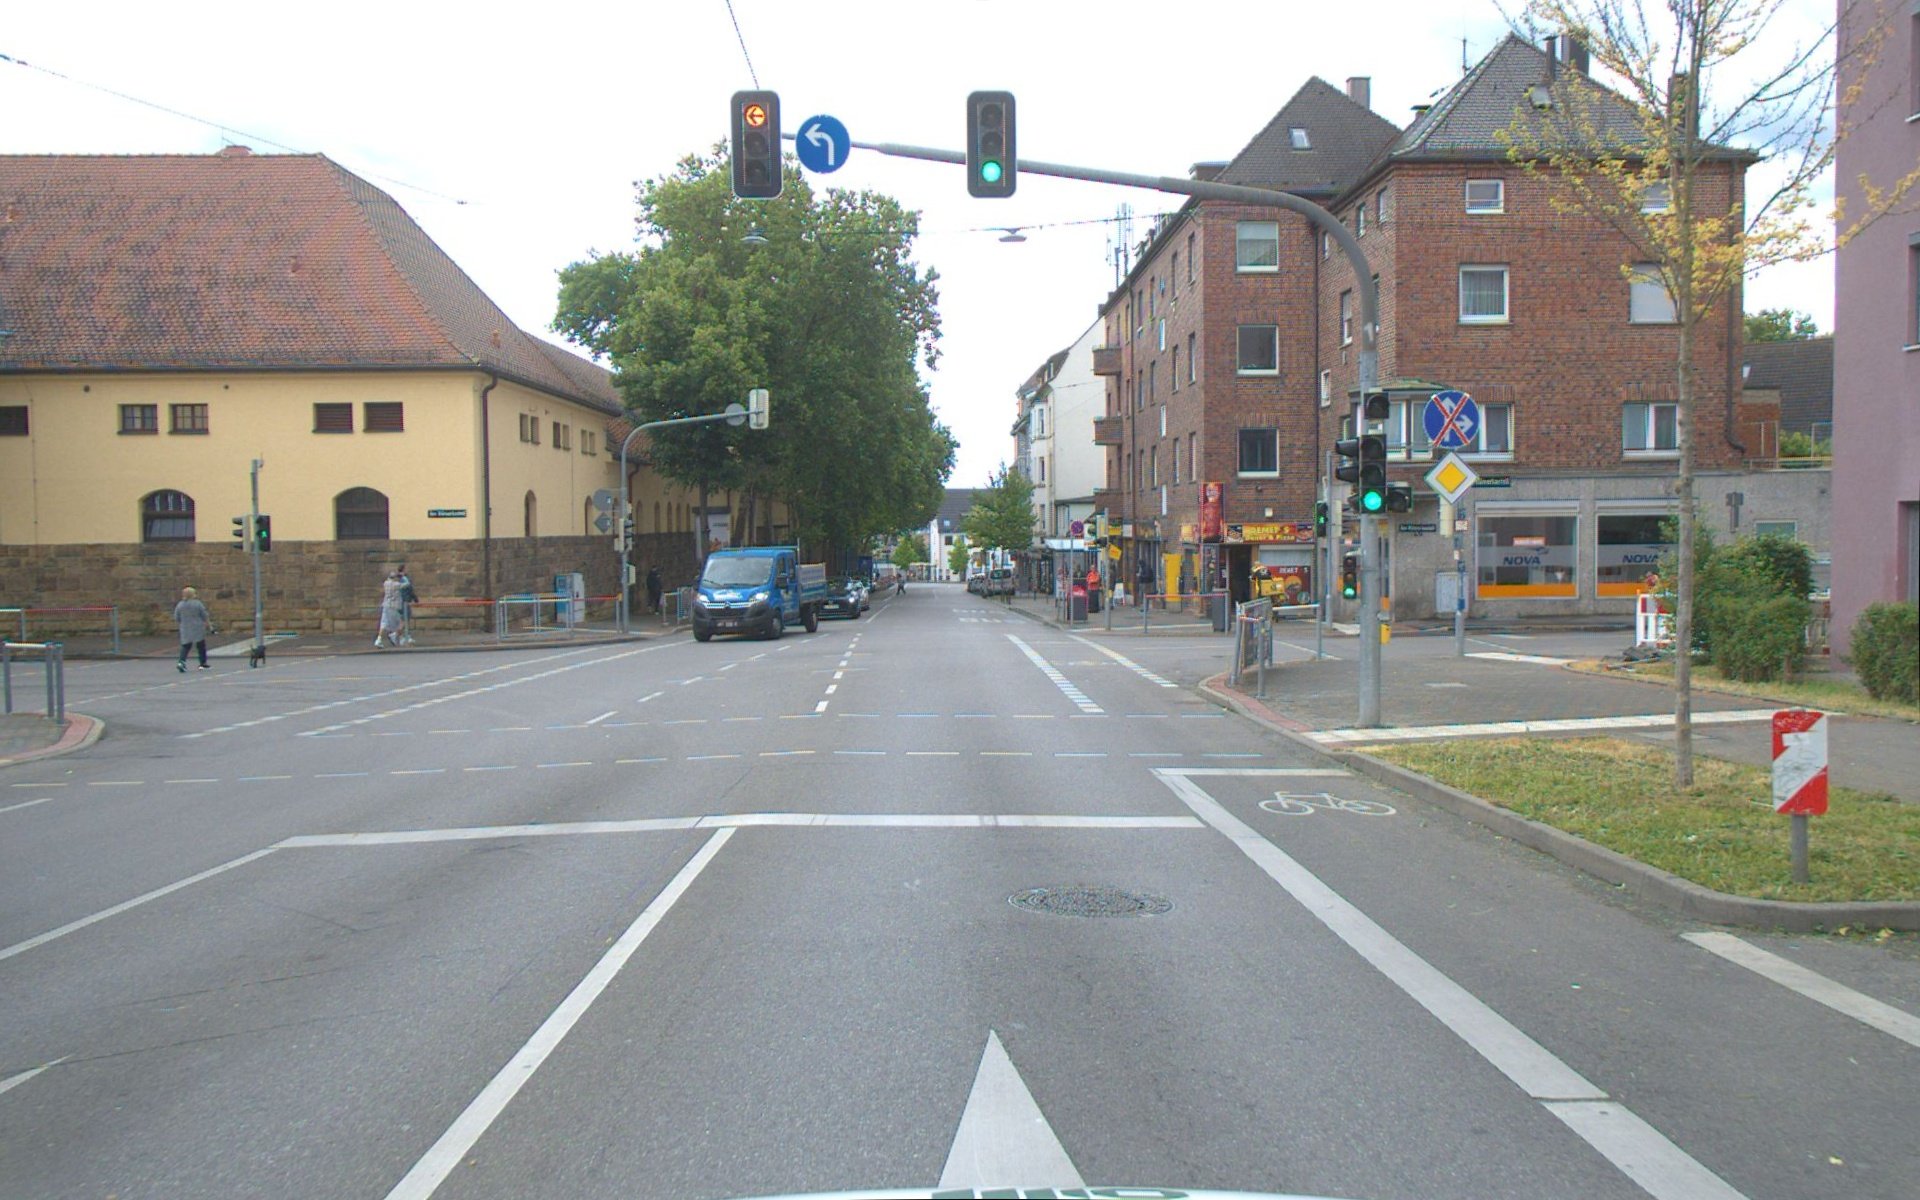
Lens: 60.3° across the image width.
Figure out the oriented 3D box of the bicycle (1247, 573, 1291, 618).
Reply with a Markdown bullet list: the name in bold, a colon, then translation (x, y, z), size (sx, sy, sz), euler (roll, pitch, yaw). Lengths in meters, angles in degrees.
- **bicycle**: translation (8.588, -0.151, 46.003), size (0.744, 1.214, 2.391), euler (0, 1, -1)

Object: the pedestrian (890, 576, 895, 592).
- **pedestrian**: translation (-8.627, -2.037, 210.600), size (0.620, 2.049, 0.784), euler (0, 1, 0)

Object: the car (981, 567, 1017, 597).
- **car**: translation (2.598, -1.208, 111.418), size (1.954, 1.969, 4.915), euler (0, 1, -4)

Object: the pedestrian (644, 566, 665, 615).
- **pedestrian**: translation (-11.234, -0.351, 60.822), size (0.660, 1.795, 0.725), euler (0, 0, -1)

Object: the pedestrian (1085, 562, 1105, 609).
- **pedestrian**: translation (4.825, -0.528, 59.157), size (0.553, 1.665, 0.681), euler (0, 1, 19)

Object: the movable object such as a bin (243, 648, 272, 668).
- **movable object such as a bin**: translation (-13.900, 1.148, 32.722), size (0.300, 0.353, 0.581), euler (0, 1, 4)

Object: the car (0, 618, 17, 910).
- **car**: translation (-5.787, 0.905, 6.476), size (1.720, 1.498, 4.306), euler (-2, 1, -1)

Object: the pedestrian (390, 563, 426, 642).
- **pedestrian**: translation (-12.766, 0.048, 38.283), size (0.552, 1.808, 0.842), euler (0, 1, -2)

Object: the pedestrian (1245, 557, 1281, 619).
- **pedestrian**: translation (8.466, -0.332, 46.222), size (0.772, 1.685, 0.772), euler (-3, 1, -1)

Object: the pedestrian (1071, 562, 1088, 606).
- **pedestrian**: translation (4.836, -0.655, 66.815), size (0.656, 1.758, 0.764), euler (0, 1, 4)

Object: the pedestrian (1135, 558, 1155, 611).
- **pedestrian**: translation (6.311, -0.540, 56.521), size (0.633, 1.780, 0.778), euler (0, 1, 4)

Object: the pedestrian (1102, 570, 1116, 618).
- **pedestrian**: translation (5.710, -0.230, 63.234), size (0.469, 1.795, 0.458), euler (0, 0, -1)

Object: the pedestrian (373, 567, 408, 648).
- **pedestrian**: translation (-12.864, 0.166, 37.389), size (0.552, 1.808, 0.717), euler (0, 1, -2)

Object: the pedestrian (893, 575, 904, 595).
- **pedestrian**: translation (-4.789, -1.163, 129.645), size (0.665, 1.563, 0.605), euler (-1, 1, -29)

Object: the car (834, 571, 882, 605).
- **car**: translation (-4.259, -0.511, 69.456), size (1.651, 1.298, 4.095), euler (-3, 0, 1)

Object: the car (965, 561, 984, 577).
- **car**: translation (1.403, -3.089, 165.125), size (1.635, 1.574, 3.754), euler (0, 1, -4)

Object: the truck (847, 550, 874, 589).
- **truck**: translation (-8.841, -2.726, 147.534), size (2.186, 3.404, 7.447), euler (0, 1, -2)

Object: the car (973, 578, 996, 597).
- **car**: translation (1.991, -1.027, 135.015), size (1.635, 1.574, 3.754), euler (0, 1, -4)

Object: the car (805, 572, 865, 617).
- **car**: translation (-4.265, -0.208, 56.813), size (1.668, 1.439, 4.193), euler (-2, 1, 1)

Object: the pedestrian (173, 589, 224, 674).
- **pedestrian**: translation (-14.639, 0.593, 31.811), size (0.552, 1.594, 0.843), euler (0, 1, 4)

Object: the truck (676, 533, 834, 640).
- **truck**: translation (-5.109, -0.382, 42.414), size (2.246, 2.469, 6.417), euler (-2, 1, 9)

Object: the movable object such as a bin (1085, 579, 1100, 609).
- **movable object such as a bin**: translation (4.734, -0.218, 58.959), size (0.443, 1.075, 0.410), euler (0, 0, 19)
